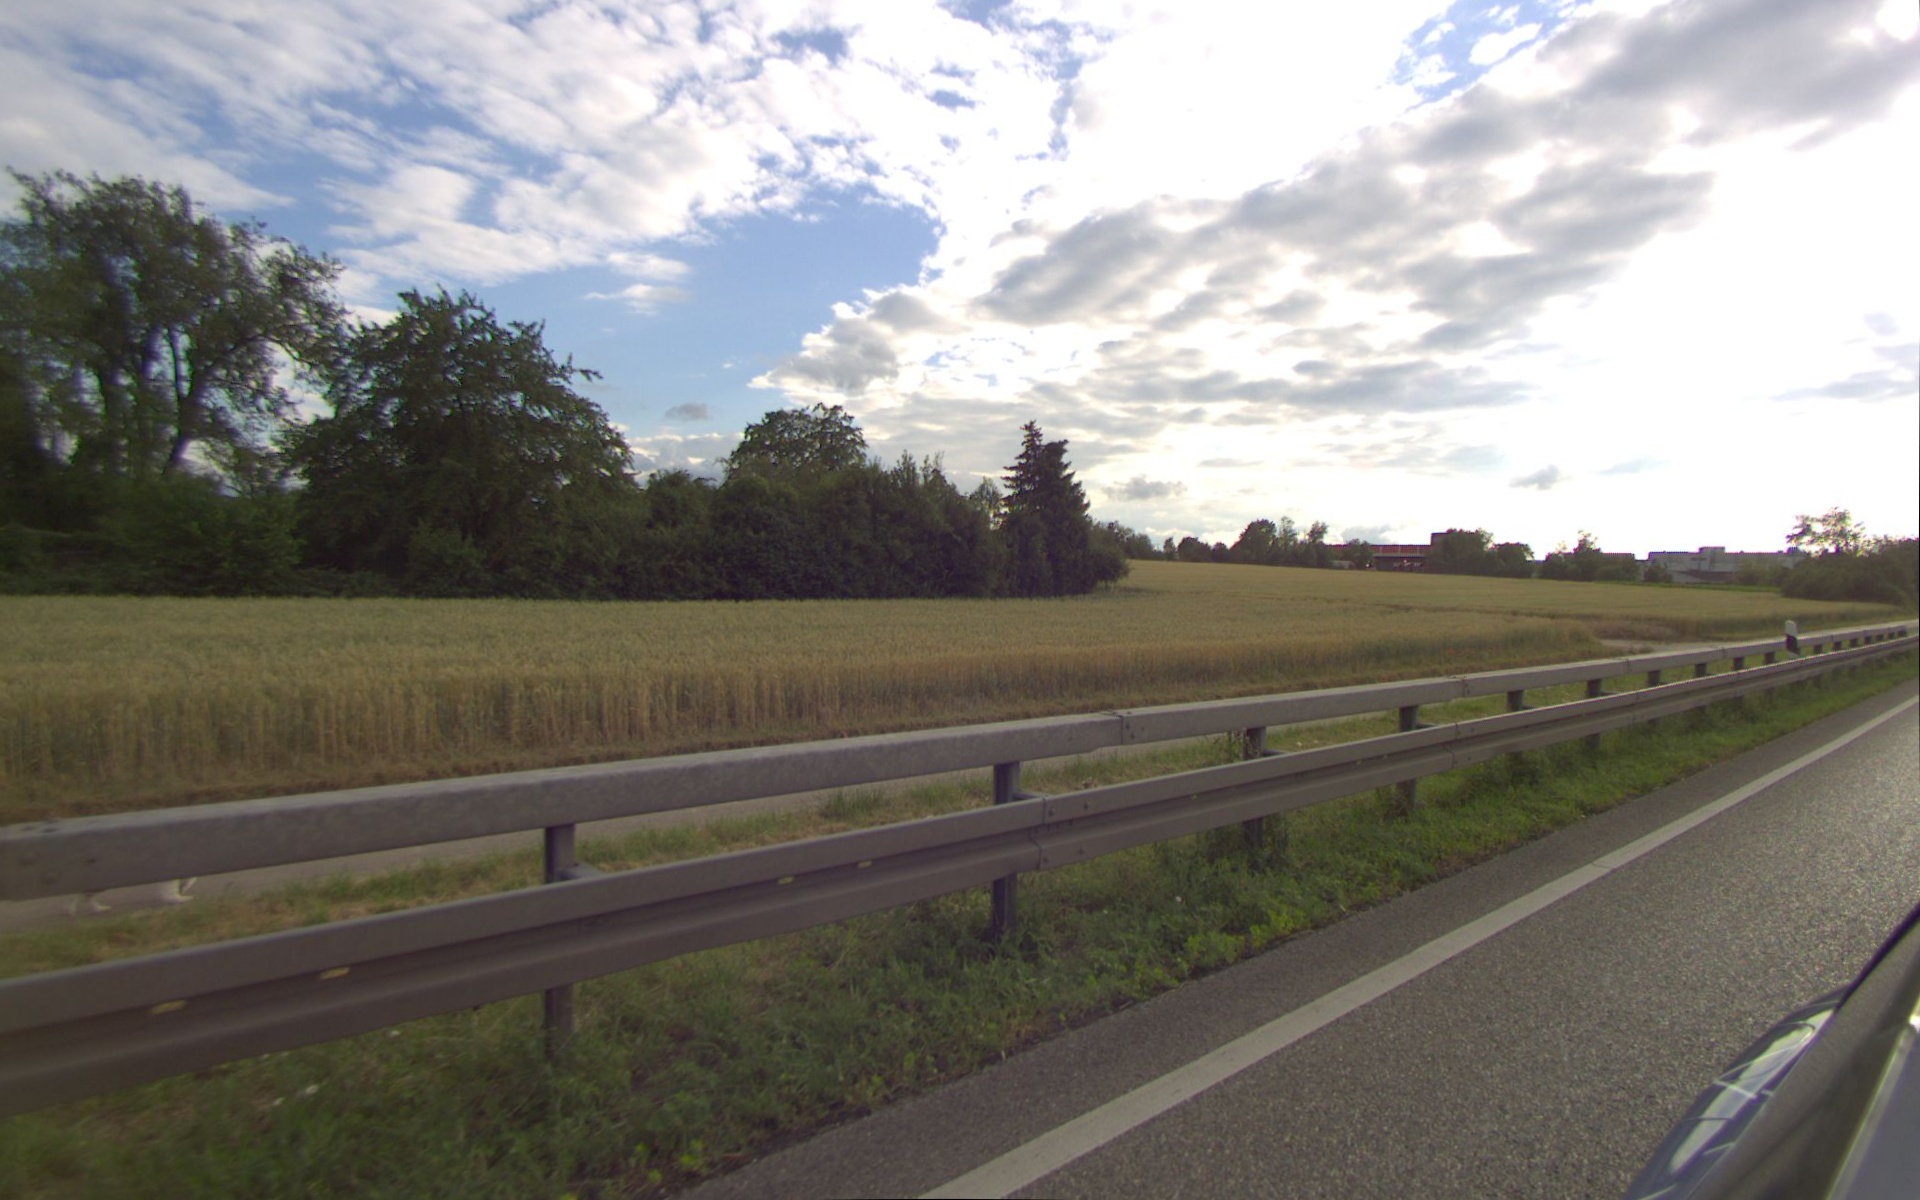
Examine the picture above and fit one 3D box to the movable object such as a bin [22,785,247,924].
[{"bbox_3d":[-5.957,1.799,7.348,1.214,0.654,0.733,-1,0,-41],"label":"movable object such as a bin"}]
